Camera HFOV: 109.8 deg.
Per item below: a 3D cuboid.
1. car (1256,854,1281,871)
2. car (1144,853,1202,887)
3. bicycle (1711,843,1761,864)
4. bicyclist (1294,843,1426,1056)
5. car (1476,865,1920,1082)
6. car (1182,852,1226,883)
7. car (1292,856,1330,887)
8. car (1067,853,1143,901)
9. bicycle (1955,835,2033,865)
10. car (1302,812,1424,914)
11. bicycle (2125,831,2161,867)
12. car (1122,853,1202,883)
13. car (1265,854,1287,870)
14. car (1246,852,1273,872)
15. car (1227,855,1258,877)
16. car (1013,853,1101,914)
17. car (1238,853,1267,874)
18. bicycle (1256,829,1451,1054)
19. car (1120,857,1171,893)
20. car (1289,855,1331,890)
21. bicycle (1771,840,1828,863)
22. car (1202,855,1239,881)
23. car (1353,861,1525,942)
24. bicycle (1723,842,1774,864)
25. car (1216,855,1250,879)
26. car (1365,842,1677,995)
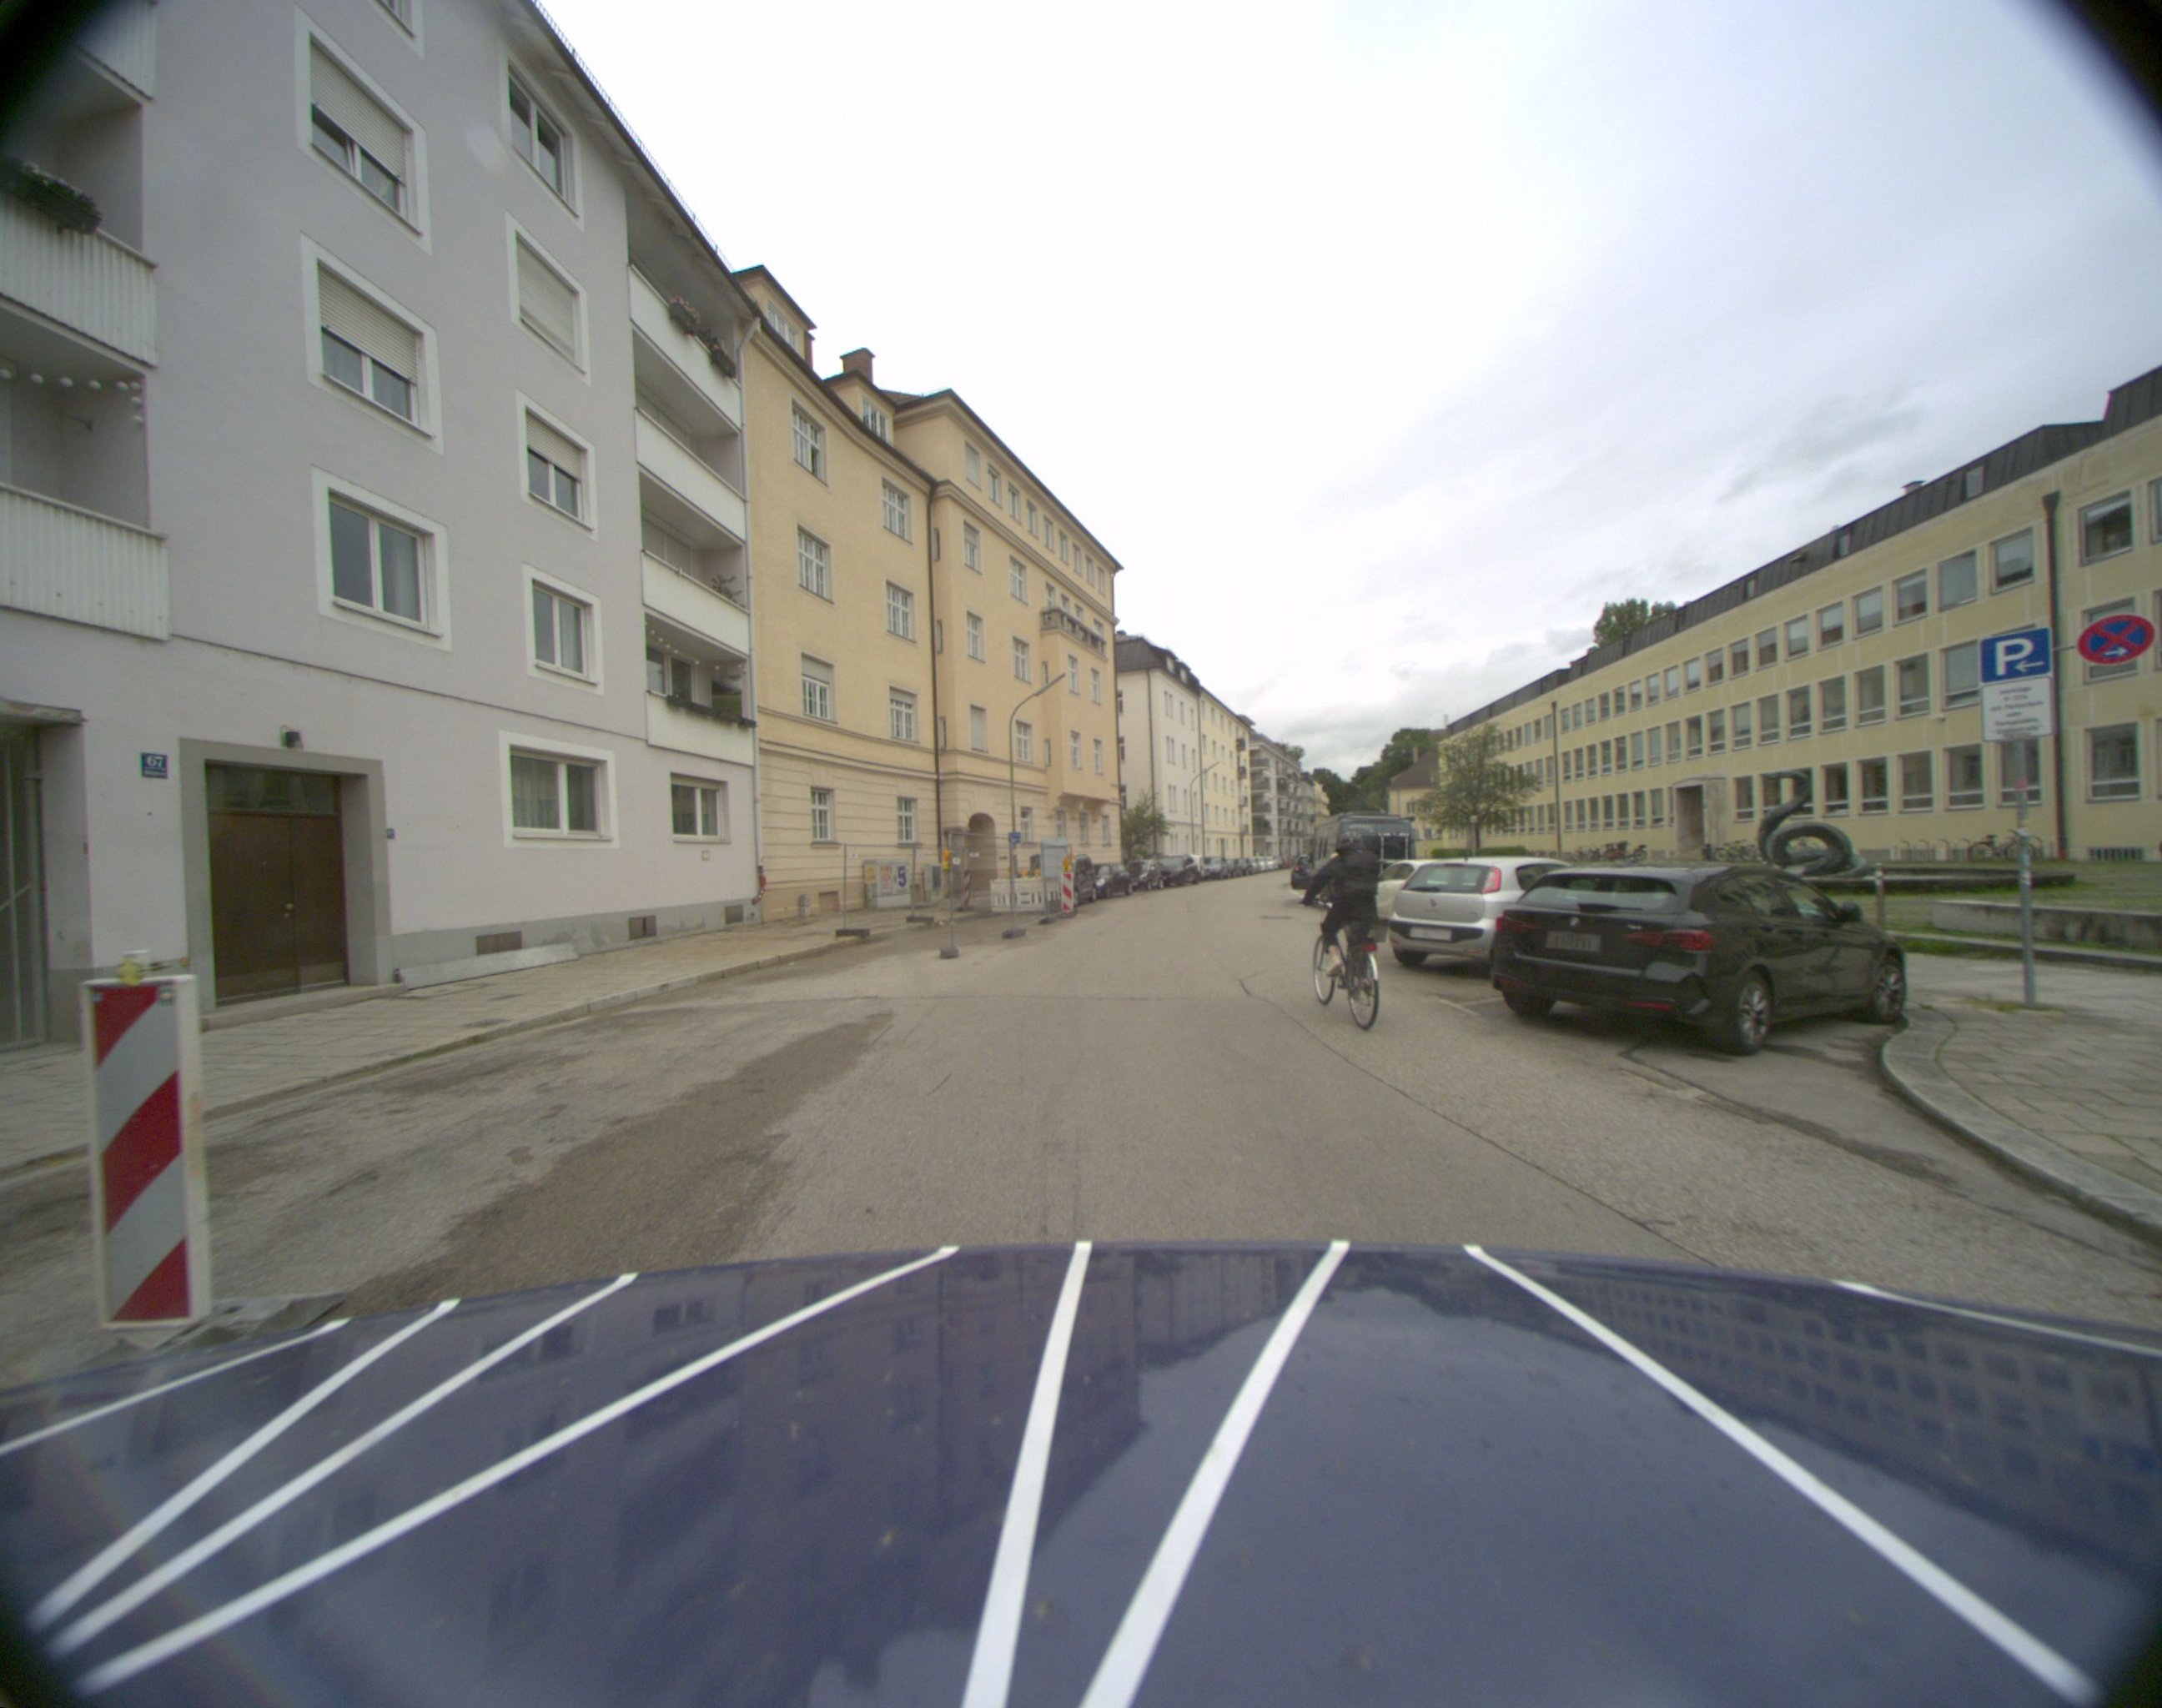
[{"bbox_3d":[18.486,0.775,74.934,1.839,1.450,4.028,-4,0,21],"label":"car"},{"bbox_3d":[5.173,0.863,42.248,1.930,1.719,4.695,-4,-2,22],"label":"car"},{"bbox_3d":[32.456,-0.007,37.675,1.905,0.911,0.438,-4,0,7],"label":"bicycle"},{"bbox_3d":[2.395,0.779,6.650,0.750,1.707,1.032,-2,0,1],"label":"bicyclist"},{"bbox_3d":[5.545,0.810,6.741,4.013,1.365,1.745,0,0,-30],"label":"car"},{"bbox_3d":[7.997,0.839,49.162,1.780,1.720,4.396,-4,0,22],"label":"car"},{"bbox_3d":[11.426,0.803,37.691,1.723,1.356,4.217,1,1,17],"label":"car"},{"bbox_3d":[1.050,0.909,31.413,1.838,1.720,3.735,-4,0,22],"label":"car"},{"bbox_3d":[31.380,-0.129,26.120,1.905,0.911,0.438,-4,0,7],"label":"bicycle"},{"bbox_3d":[8.052,0.225,22.363,2.148,2.559,6.215,-1,0,9],"label":"car"},{"bbox_3d":[29.775,-0.175,20.642,1.905,0.911,0.438,-4,0,7],"label":"bicycle"},{"bbox_3d":[5.084,0.884,48.326,4.919,1.762,1.886,-1,1,4],"label":"car"},{"bbox_3d":[20.629,0.826,80.147,1.740,1.367,4.028,-4,0,21],"label":"car"},{"bbox_3d":[16.651,0.729,70.750,1.780,1.581,3.707,-4,0,22],"label":"car"},{"bbox_3d":[13.089,0.942,61.469,1.780,1.581,3.707,-4,0,22],"label":"car"},{"bbox_3d":[-0.713,0.949,26.080,1.839,1.788,4.242,-4,0,13],"label":"car"},{"bbox_3d":[14.941,0.820,66.002,1.780,1.581,3.707,-4,0,22],"label":"car"},{"bbox_3d":[2.440,0.696,7.357,0.797,1.712,3.115,0,-1,1],"label":"bicycle"},{"bbox_3d":[3.166,1.018,37.048,1.509,1.547,2.867,-4,0,24],"label":"car"},{"bbox_3d":[10.123,0.780,33.533,1.668,1.451,2.871,0,1,18],"label":"car"},{"bbox_3d":[32.192,-0.100,34.053,1.905,0.911,0.438,-4,0,7],"label":"bicycle"},{"bbox_3d":[9.948,0.992,54.069,1.780,1.581,3.707,-4,0,22],"label":"car"},{"bbox_3d":[7.155,0.873,15.715,1.831,1.379,4.143,1,0,4],"label":"car"},{"bbox_3d":[32.355,-0.038,36.845,1.905,0.911,0.438,-4,0,7],"label":"bicycle"},{"bbox_3d":[11.638,0.980,57.853,1.780,1.581,3.707,-4,0,22],"label":"car"},{"bbox_3d":[5.945,0.736,10.199,3.988,1.521,1.672,-4,0,-27],"label":"car"}]
